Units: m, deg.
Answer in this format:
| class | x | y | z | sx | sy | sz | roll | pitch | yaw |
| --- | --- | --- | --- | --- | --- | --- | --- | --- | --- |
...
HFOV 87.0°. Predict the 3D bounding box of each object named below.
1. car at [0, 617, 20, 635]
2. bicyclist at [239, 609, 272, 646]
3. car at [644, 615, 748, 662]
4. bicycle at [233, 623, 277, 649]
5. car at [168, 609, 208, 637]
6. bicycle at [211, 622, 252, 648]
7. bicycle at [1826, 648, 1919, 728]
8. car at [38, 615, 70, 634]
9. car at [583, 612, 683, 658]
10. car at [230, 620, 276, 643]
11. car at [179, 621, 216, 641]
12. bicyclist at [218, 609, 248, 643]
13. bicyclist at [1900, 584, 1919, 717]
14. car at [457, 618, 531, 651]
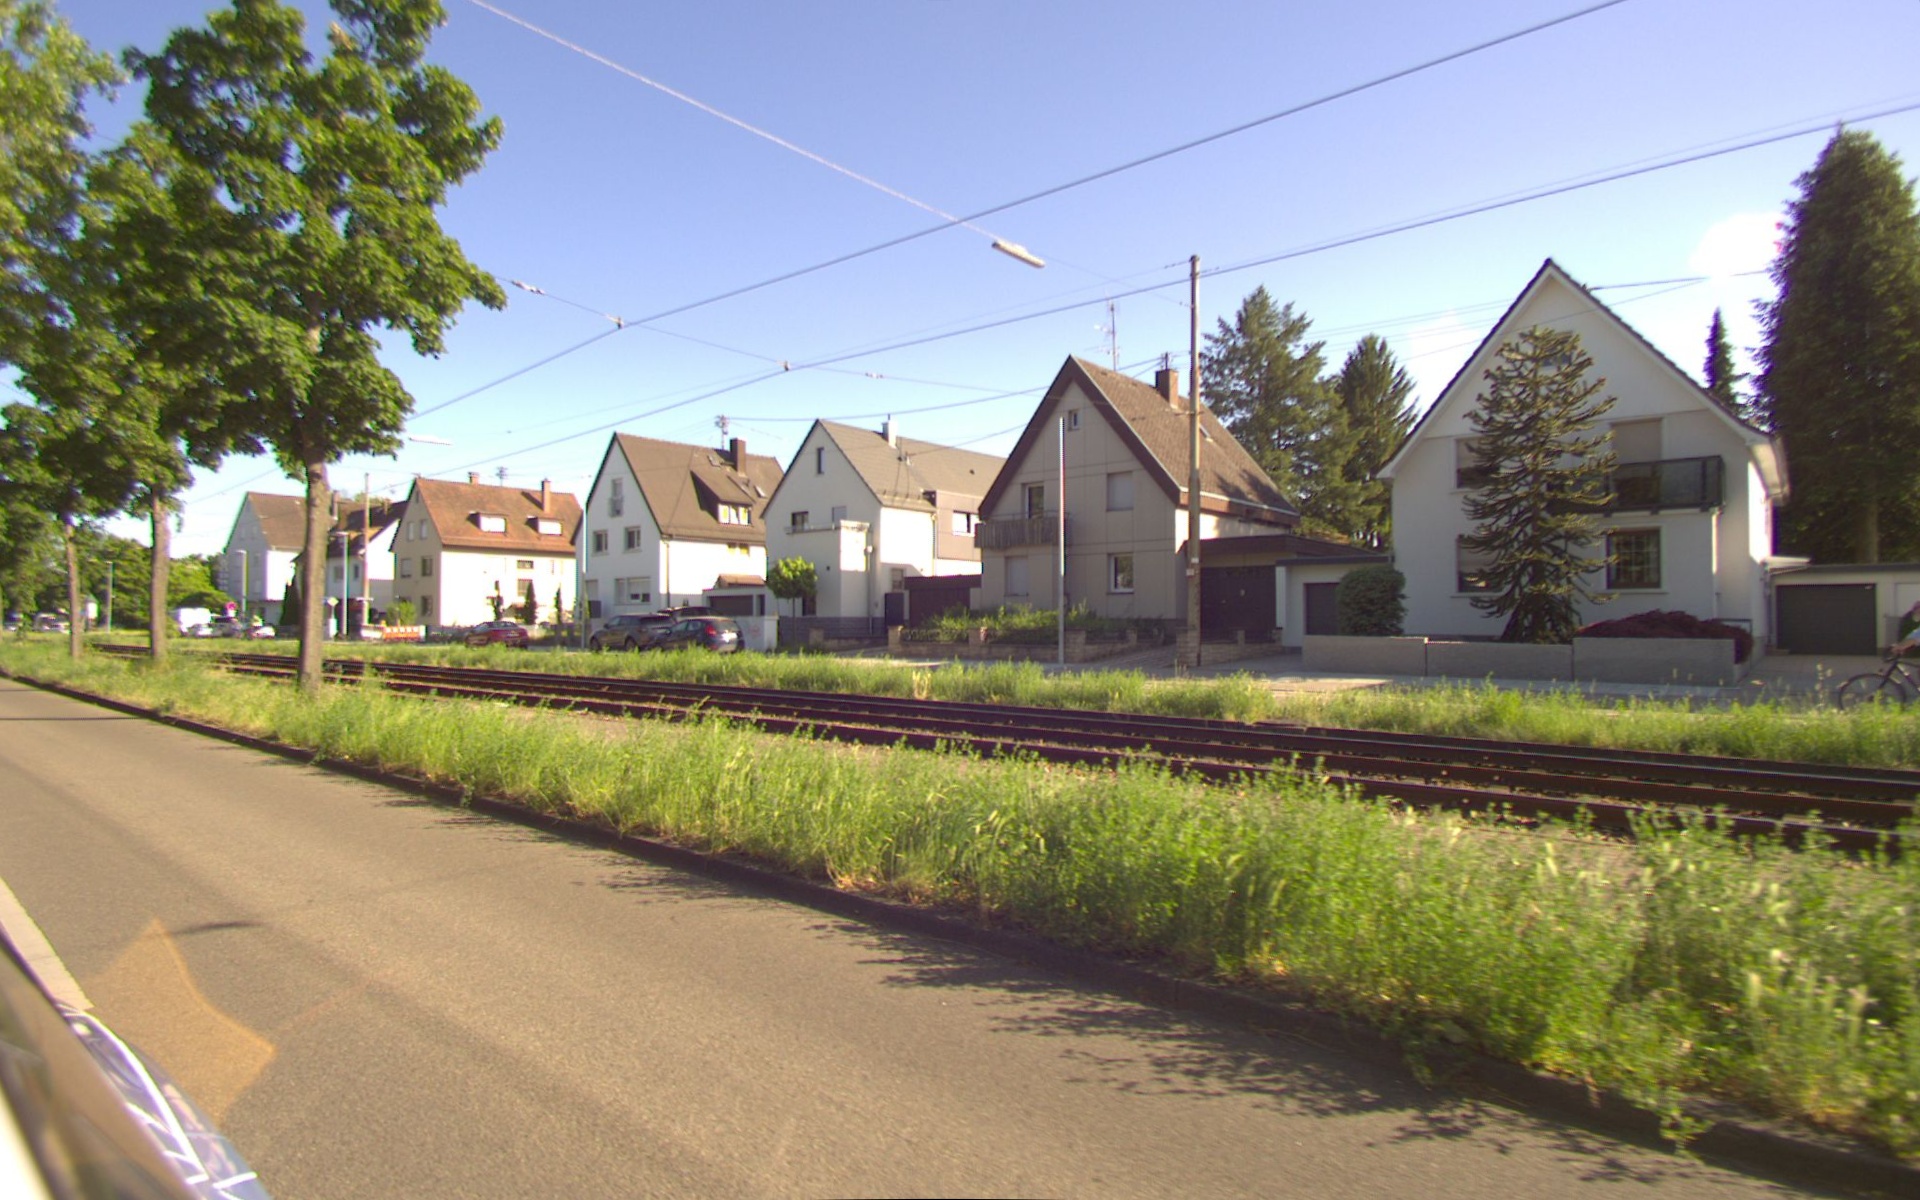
| class | x | y | z | sx | sy | sz | roll | pitch | yaw |
| --- | --- | --- | --- | --- | --- | --- | --- | --- | --- |
| car | -115.365 | 3.134 | 122.387 | 3.997 | 2.050 | 2.106 | -1 | 0 | 41 |
| bicyclist | -43.751 | 1.696 | 62.826 | 1.622 | 2.250 | 1.293 | -1 | 0 | 41 |
| car | -9.281 | 1.300 | 35.473 | 3.754 | 1.501 | 1.716 | -1 | 0 | 41 |
| bicycle | -43.851 | 2.242 | 62.895 | 3.998 | 1.506 | 1.336 | -1 | 0 | 41 |
| car | -64.082 | 1.910 | 83.996 | 4.001 | 2.239 | 2.104 | -1 | 0 | 44 |
| bicycle | -47.959 | 2.260 | 66.598 | 3.998 | 1.589 | 1.336 | -1 | 0 | 41 |
| bicycle | 12.680 | 1.140 | 13.033 | 2.308 | 0.958 | 0.843 | -1 | 0 | 41 |
| car | -99.345 | 2.683 | 110.988 | 3.997 | 2.050 | 2.106 | -1 | 0 | 41 |
| car | -12.361 | 1.282 | 38.155 | 4.010 | 1.609 | 1.779 | -1 | 0 | 41 |
| car | -49.822 | 2.212 | 71.328 | 3.998 | 1.517 | 1.768 | -1 | 0 | 42 |
| car | -60.496 | 2.422 | 80.284 | 4.001 | 1.517 | 1.767 | -1 | 0 | 44 |
| bicyclist | -47.607 | 1.673 | 66.254 | 1.308 | 2.176 | 1.336 | -1 | 0 | 41 |
| bicyclist | 12.663 | 0.634 | 12.987 | 0.836 | 1.687 | 0.843 | -1 | 0 | 41 |
| car | -21.520 | 1.559 | 46.672 | 3.822 | 1.392 | 1.733 | -1 | 0 | 41 |
